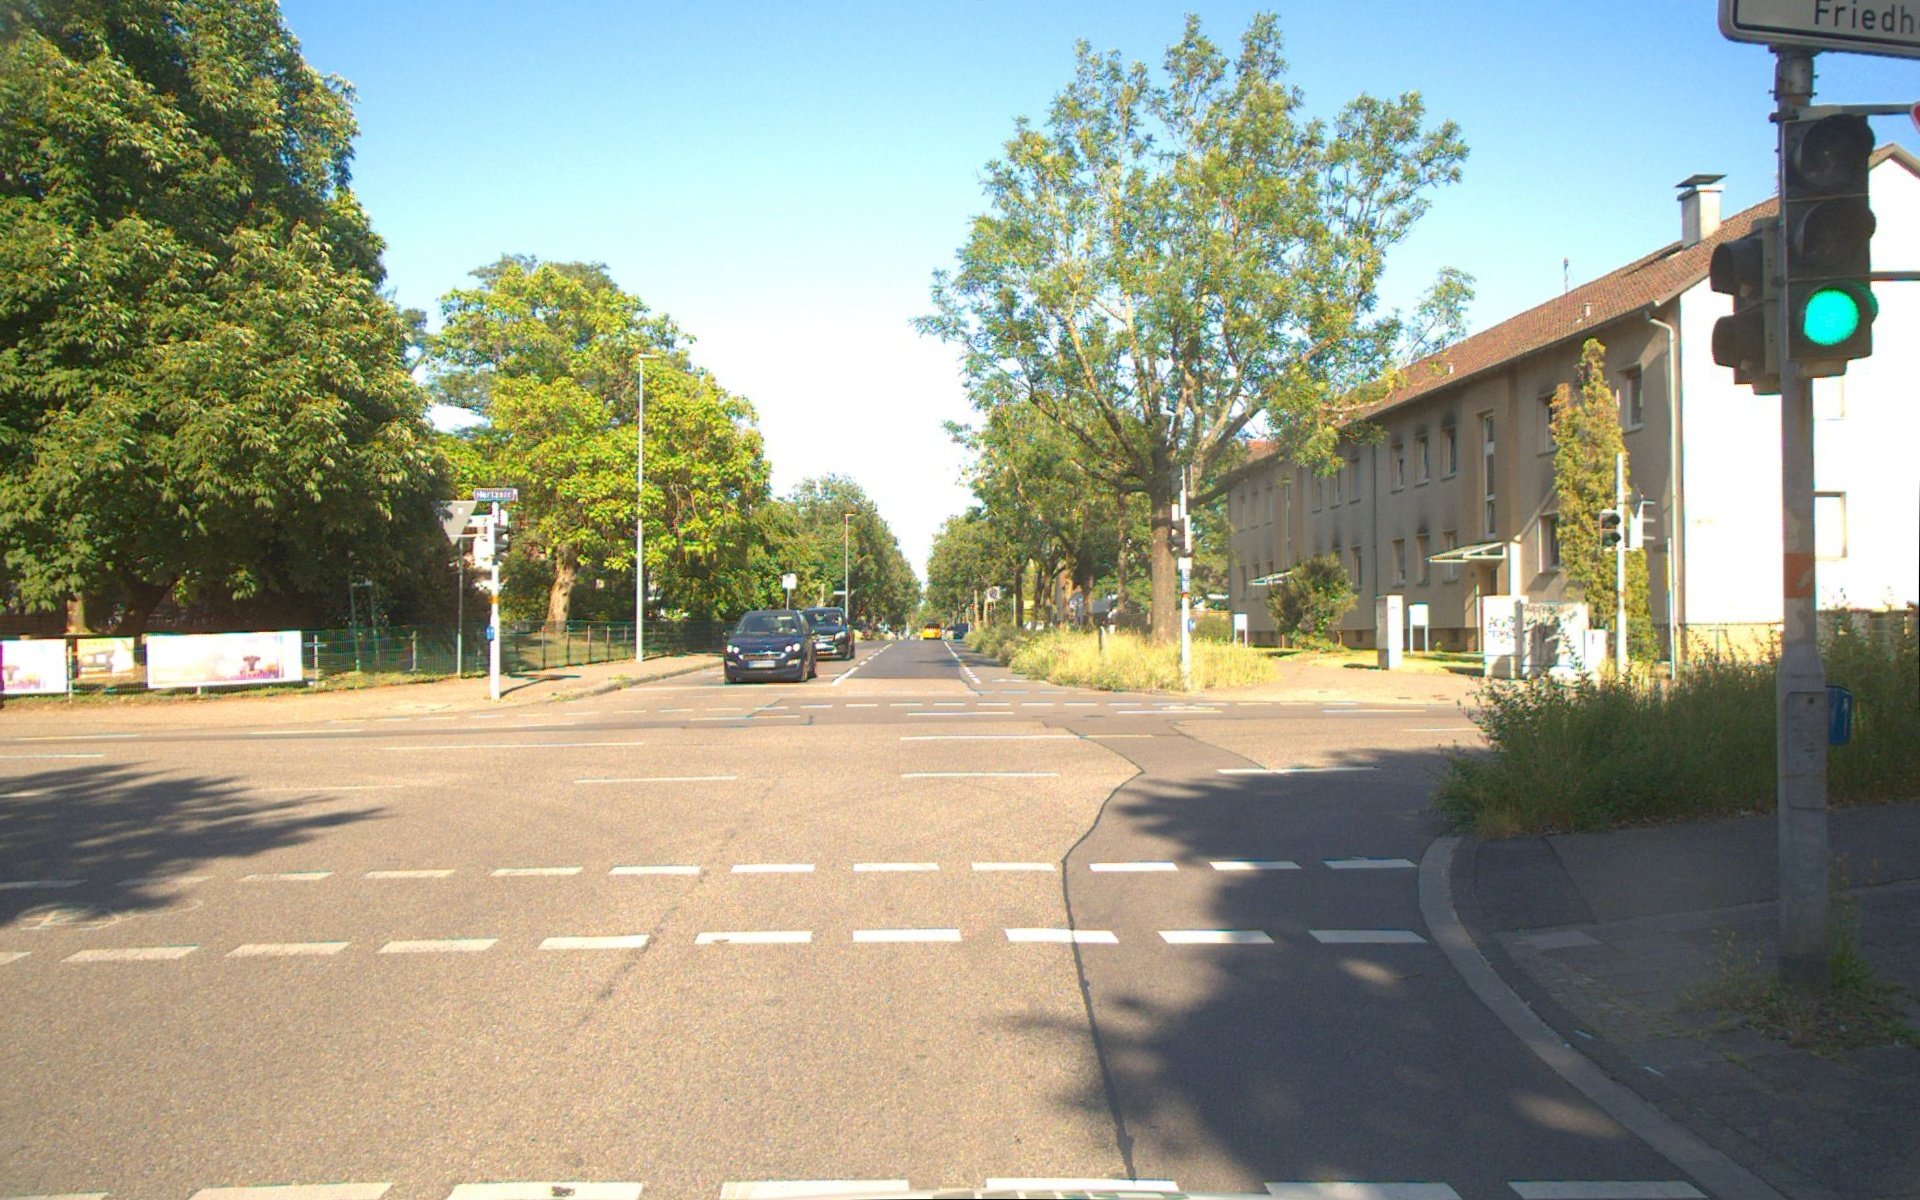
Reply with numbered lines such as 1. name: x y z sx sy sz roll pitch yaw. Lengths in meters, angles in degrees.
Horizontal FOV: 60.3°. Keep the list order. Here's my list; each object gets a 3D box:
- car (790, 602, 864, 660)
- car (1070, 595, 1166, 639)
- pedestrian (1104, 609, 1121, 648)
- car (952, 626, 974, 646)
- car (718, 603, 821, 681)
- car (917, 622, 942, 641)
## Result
1. car: -4.093 0.934 51.609 1.777 1.646 4.393 -2 0 2
2. car: 9.549 1.026 100.282 5.485 2.584 2.263 0 -1 -5
3. pedestrian: 6.999 1.318 75.928 0.624 1.735 0.612 -3 0 -2
4. car: 0.252 3.317 151.057 1.815 1.654 4.467 -2 -2 -1
5. car: -3.877 0.874 34.127 1.770 1.480 3.848 -2 -2 -2
6. car: -2.638 2.704 141.762 1.851 1.505 3.884 2 -2 -5
